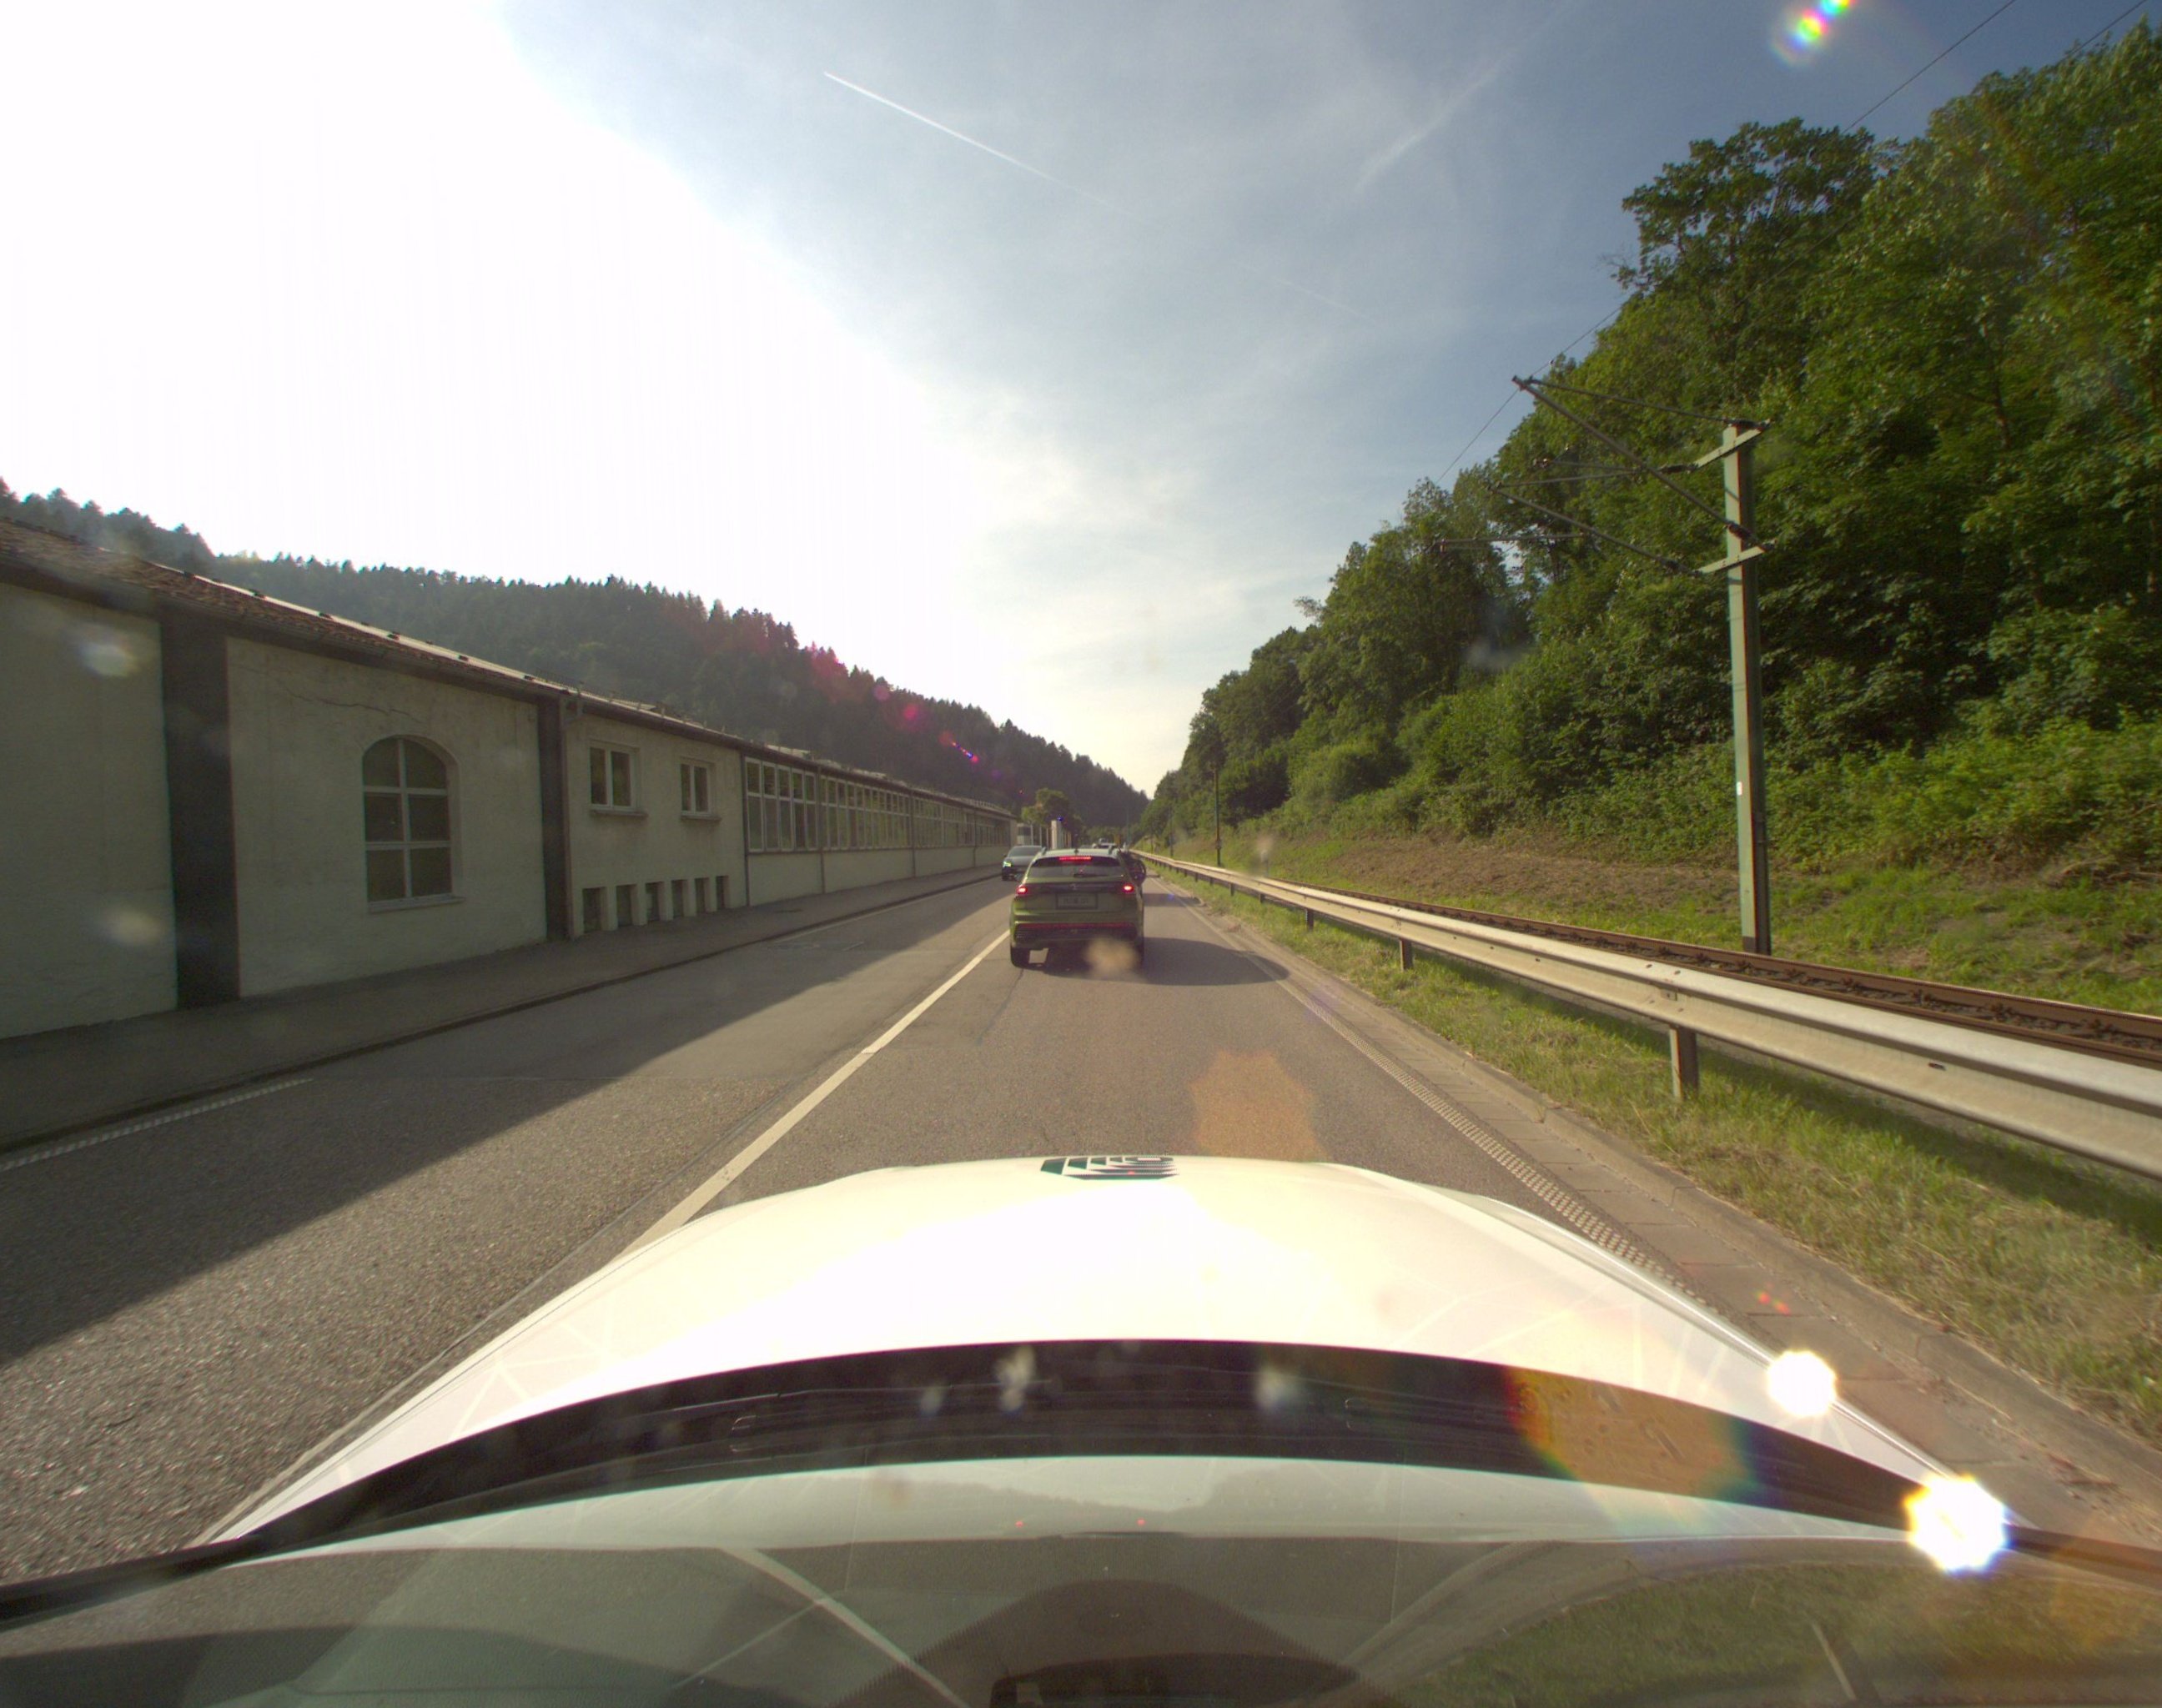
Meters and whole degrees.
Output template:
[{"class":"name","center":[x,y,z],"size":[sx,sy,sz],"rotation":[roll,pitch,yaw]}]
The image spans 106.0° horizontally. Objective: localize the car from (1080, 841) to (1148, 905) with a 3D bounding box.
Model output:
[{"class":"car","center":[0.885,0.472,22.775],"size":[1.733,1.602,4.001],"rotation":[0,0,1]}]

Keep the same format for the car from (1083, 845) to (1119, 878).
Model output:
[{"class":"car","center":[0.996,0.351,41.246],"size":[1.733,1.602,4.001],"rotation":[0,0,1]}]

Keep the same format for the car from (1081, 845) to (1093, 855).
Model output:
[{"class":"car","center":[0.952,-0.602,126.025],"size":[1.713,1.514,4.200],"rotation":[0,1,2]}]

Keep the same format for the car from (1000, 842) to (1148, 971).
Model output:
[{"class":"car","center":[-0.042,0.607,11.627],"size":[1.733,1.508,4.001],"rotation":[-1,0,1]}]

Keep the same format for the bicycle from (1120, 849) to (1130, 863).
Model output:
[{"class":"bicycle","center":[4.284,0.179,79.398],"size":[0.809,1.250,2.122],"rotation":[-1,0,0]}]

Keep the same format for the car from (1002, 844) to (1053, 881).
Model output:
[{"class":"car","center":[-2.450,0.364,38.092],"size":[1.922,1.581,4.460],"rotation":[1,0,2]}]

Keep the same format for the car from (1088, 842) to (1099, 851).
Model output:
[{"class":"car","center":[2.237,-1.309,146.284],"size":[1.767,1.490,4.053],"rotation":[0,1,2]}]

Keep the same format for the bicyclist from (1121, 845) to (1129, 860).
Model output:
[{"class":"bicyclist","center":[4.288,-0.142,79.456],"size":[0.779,1.411,0.675],"rotation":[-1,0,-1]}]

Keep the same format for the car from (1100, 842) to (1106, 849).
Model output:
[{"class":"car","center":[7.092,-2.677,261.740],"size":[1.986,2.013,4.001],"rotation":[0,0,1]}]
